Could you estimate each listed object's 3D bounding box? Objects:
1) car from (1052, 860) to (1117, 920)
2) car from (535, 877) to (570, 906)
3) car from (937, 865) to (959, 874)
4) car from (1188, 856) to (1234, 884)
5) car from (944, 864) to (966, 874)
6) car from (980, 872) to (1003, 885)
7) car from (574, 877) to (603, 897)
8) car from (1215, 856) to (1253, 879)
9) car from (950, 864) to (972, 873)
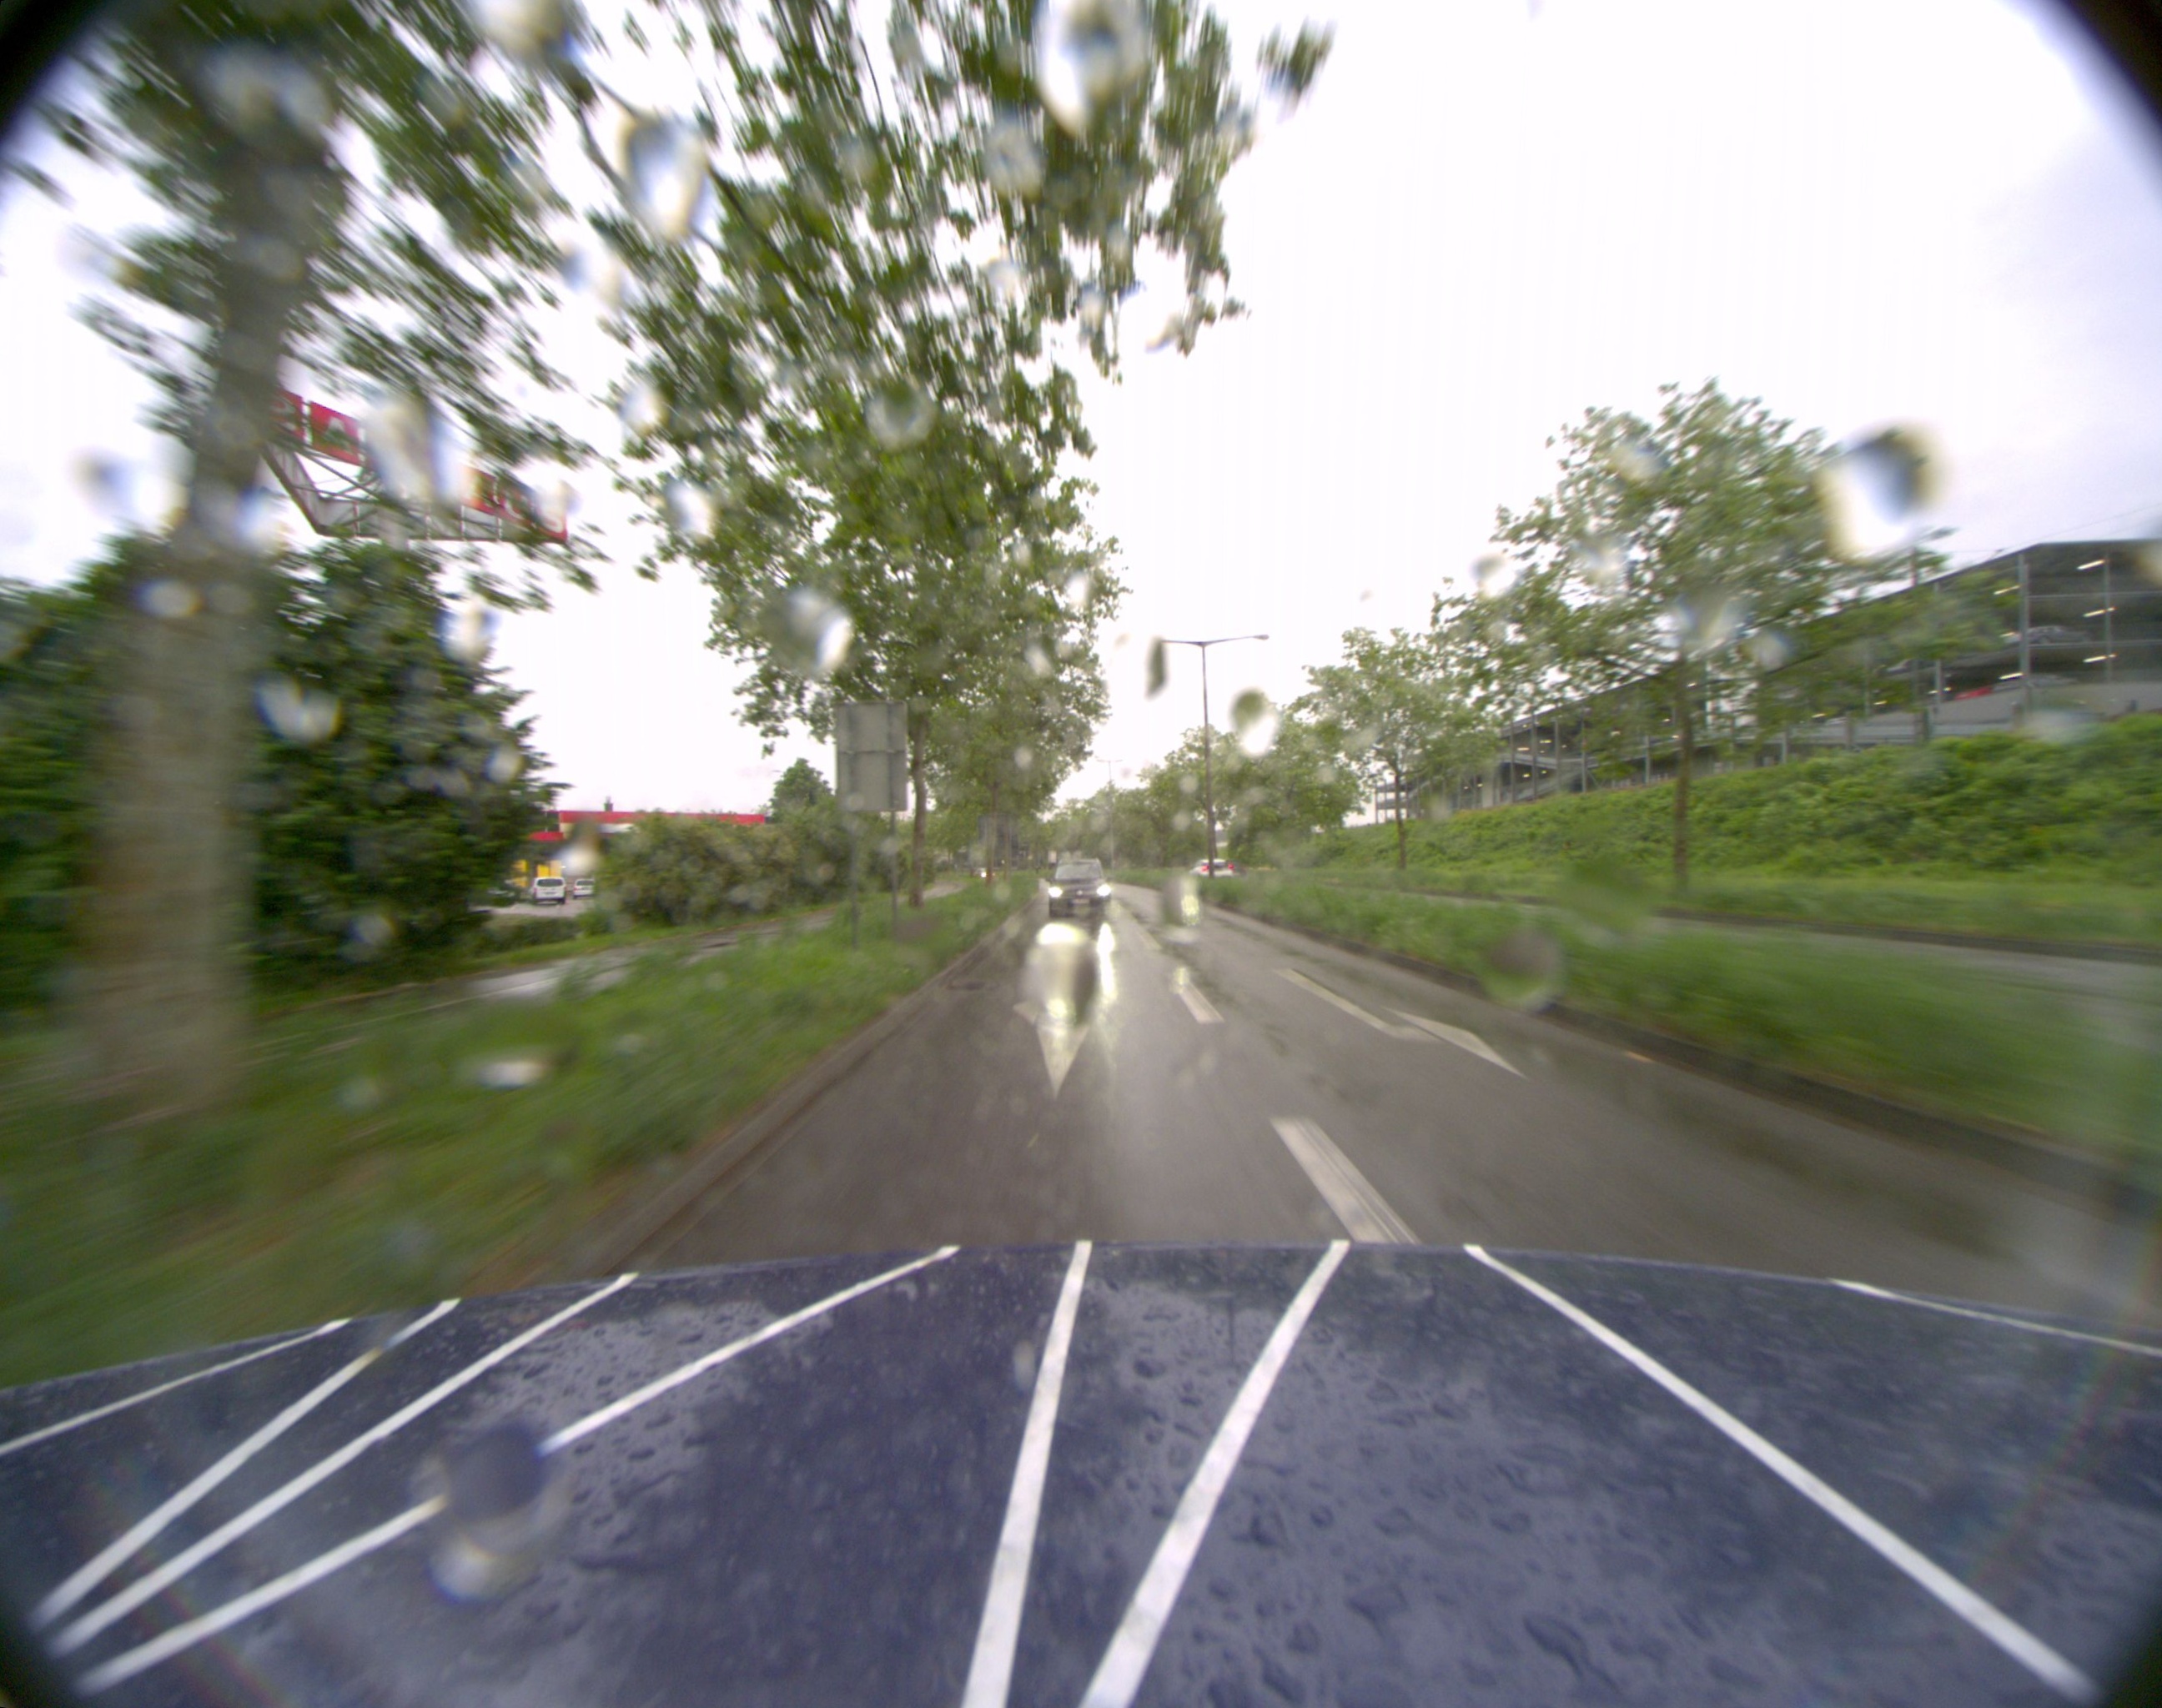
[{"bbox_3d":[0.150,1.014,23.495,1.788,1.605,4.717,1,0,2],"label":"car"},{"bbox_3d":[-36.941,2.586,53.032,1.829,1.859,4.502,-2,-1,-37],"label":"car"},{"bbox_3d":[-27.282,3.103,155.864,1.860,1.650,4.007,-2,1,40],"label":"car"},{"bbox_3d":[7.517,0.939,44.249,1.707,1.486,4.204,-2,-1,-3],"label":"car"},{"bbox_3d":[-25.607,3.033,154.538,1.860,1.650,4.007,-2,1,40],"label":"car"},{"bbox_3d":[-11.828,3.246,100.582,2.002,1.641,3.993,-2,0,-21],"label":"car"},{"bbox_3d":[-42.221,2.789,65.203,1.757,1.624,3.838,-2,-1,-29],"label":"car"},{"bbox_3d":[10.078,0.871,50.186,1.635,1.417,4.000,-2,-1,0],"label":"car"},{"bbox_3d":[-24.156,2.973,153.215,1.860,1.650,4.007,-2,1,40],"label":"car"}]
